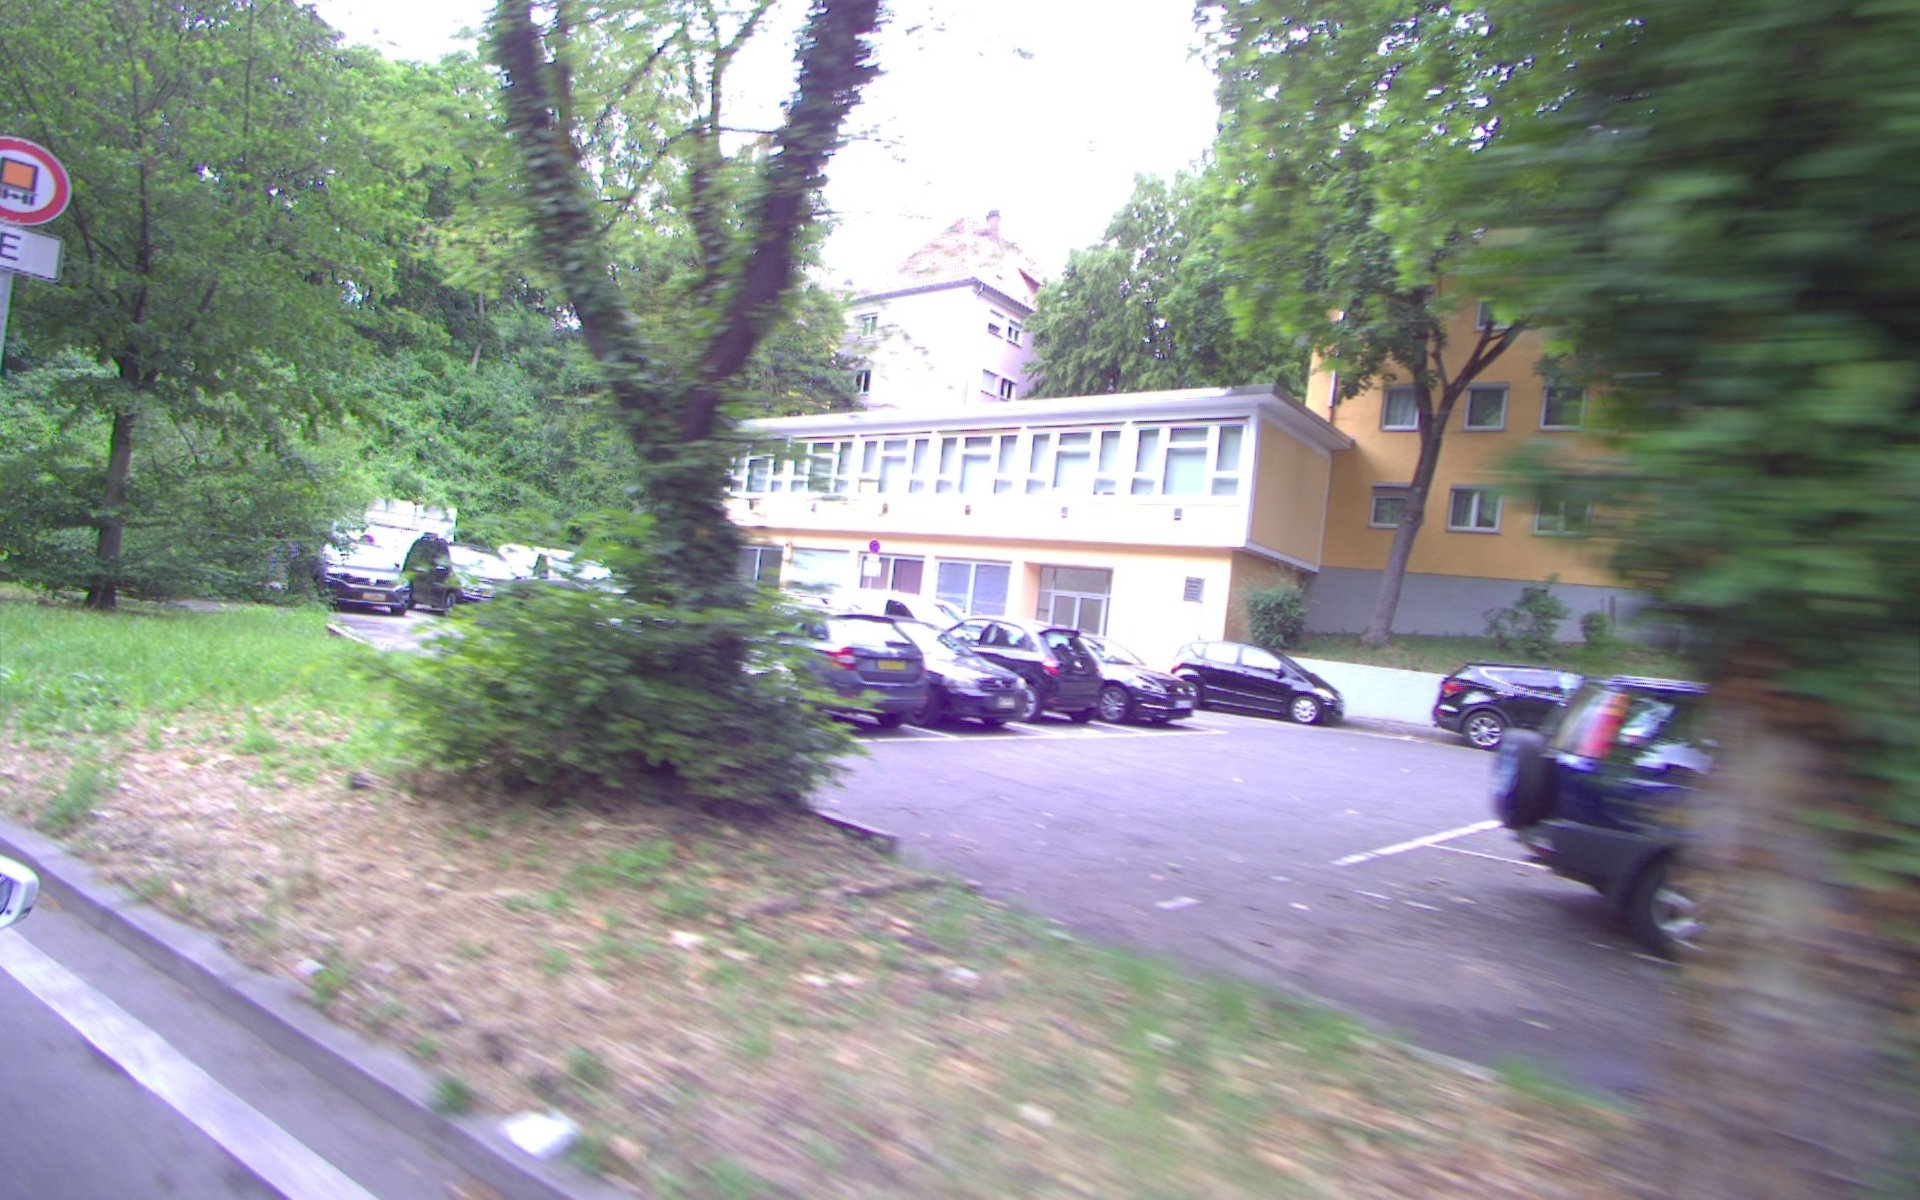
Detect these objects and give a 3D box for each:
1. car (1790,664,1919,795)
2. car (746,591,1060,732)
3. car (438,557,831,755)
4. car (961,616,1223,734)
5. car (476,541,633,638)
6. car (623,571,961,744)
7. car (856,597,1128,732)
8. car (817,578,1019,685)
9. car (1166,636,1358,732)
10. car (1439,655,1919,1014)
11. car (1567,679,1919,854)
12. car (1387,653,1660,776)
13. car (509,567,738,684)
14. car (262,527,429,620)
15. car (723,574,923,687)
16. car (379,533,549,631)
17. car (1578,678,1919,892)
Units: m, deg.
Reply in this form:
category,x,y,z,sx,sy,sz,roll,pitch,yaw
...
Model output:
category,x,y,z,sx,sy,sz,roll,pitch,yaw
car,16.419,2.252,16.100,4.528,1.909,1.994,5,0,35
car,-0.960,0.828,14.696,4.529,1.395,1.783,7,0,41
car,-3.846,0.509,11.300,4.991,1.460,1.783,7,0,41
car,2.251,1.286,18.040,4.348,1.463,1.781,7,0,45
car,-10.708,-0.316,26.405,4.500,2.038,1.854,6,-1,42
car,-2.340,0.668,13.207,4.529,1.577,1.783,7,0,41
car,0.417,1.010,16.736,4.348,1.614,1.780,7,0,45
car,-0.974,0.623,21.168,1.801,1.460,4.190,7,3,-43
car,6.558,1.788,21.923,3.605,1.523,1.654,7,0,29
car,5.784,1.467,6.259,4.795,1.686,1.813,6,1,22
car,9.946,1.980,12.286,4.057,1.447,1.735,6,1,26
car,10.810,2.118,19.493,4.287,1.693,1.995,5,0,33
car,-5.587,0.387,16.486,3.844,1.460,1.741,6,-1,41
car,-14.160,-0.647,23.067,4.816,1.687,1.805,6,1,41
car,-2.781,0.558,19.794,1.801,1.460,3.955,7,3,-43
car,-12.271,-0.490,24.749,4.816,1.901,1.855,6,-1,41
car,8.875,1.890,10.352,4.060,1.590,1.734,6,1,29
